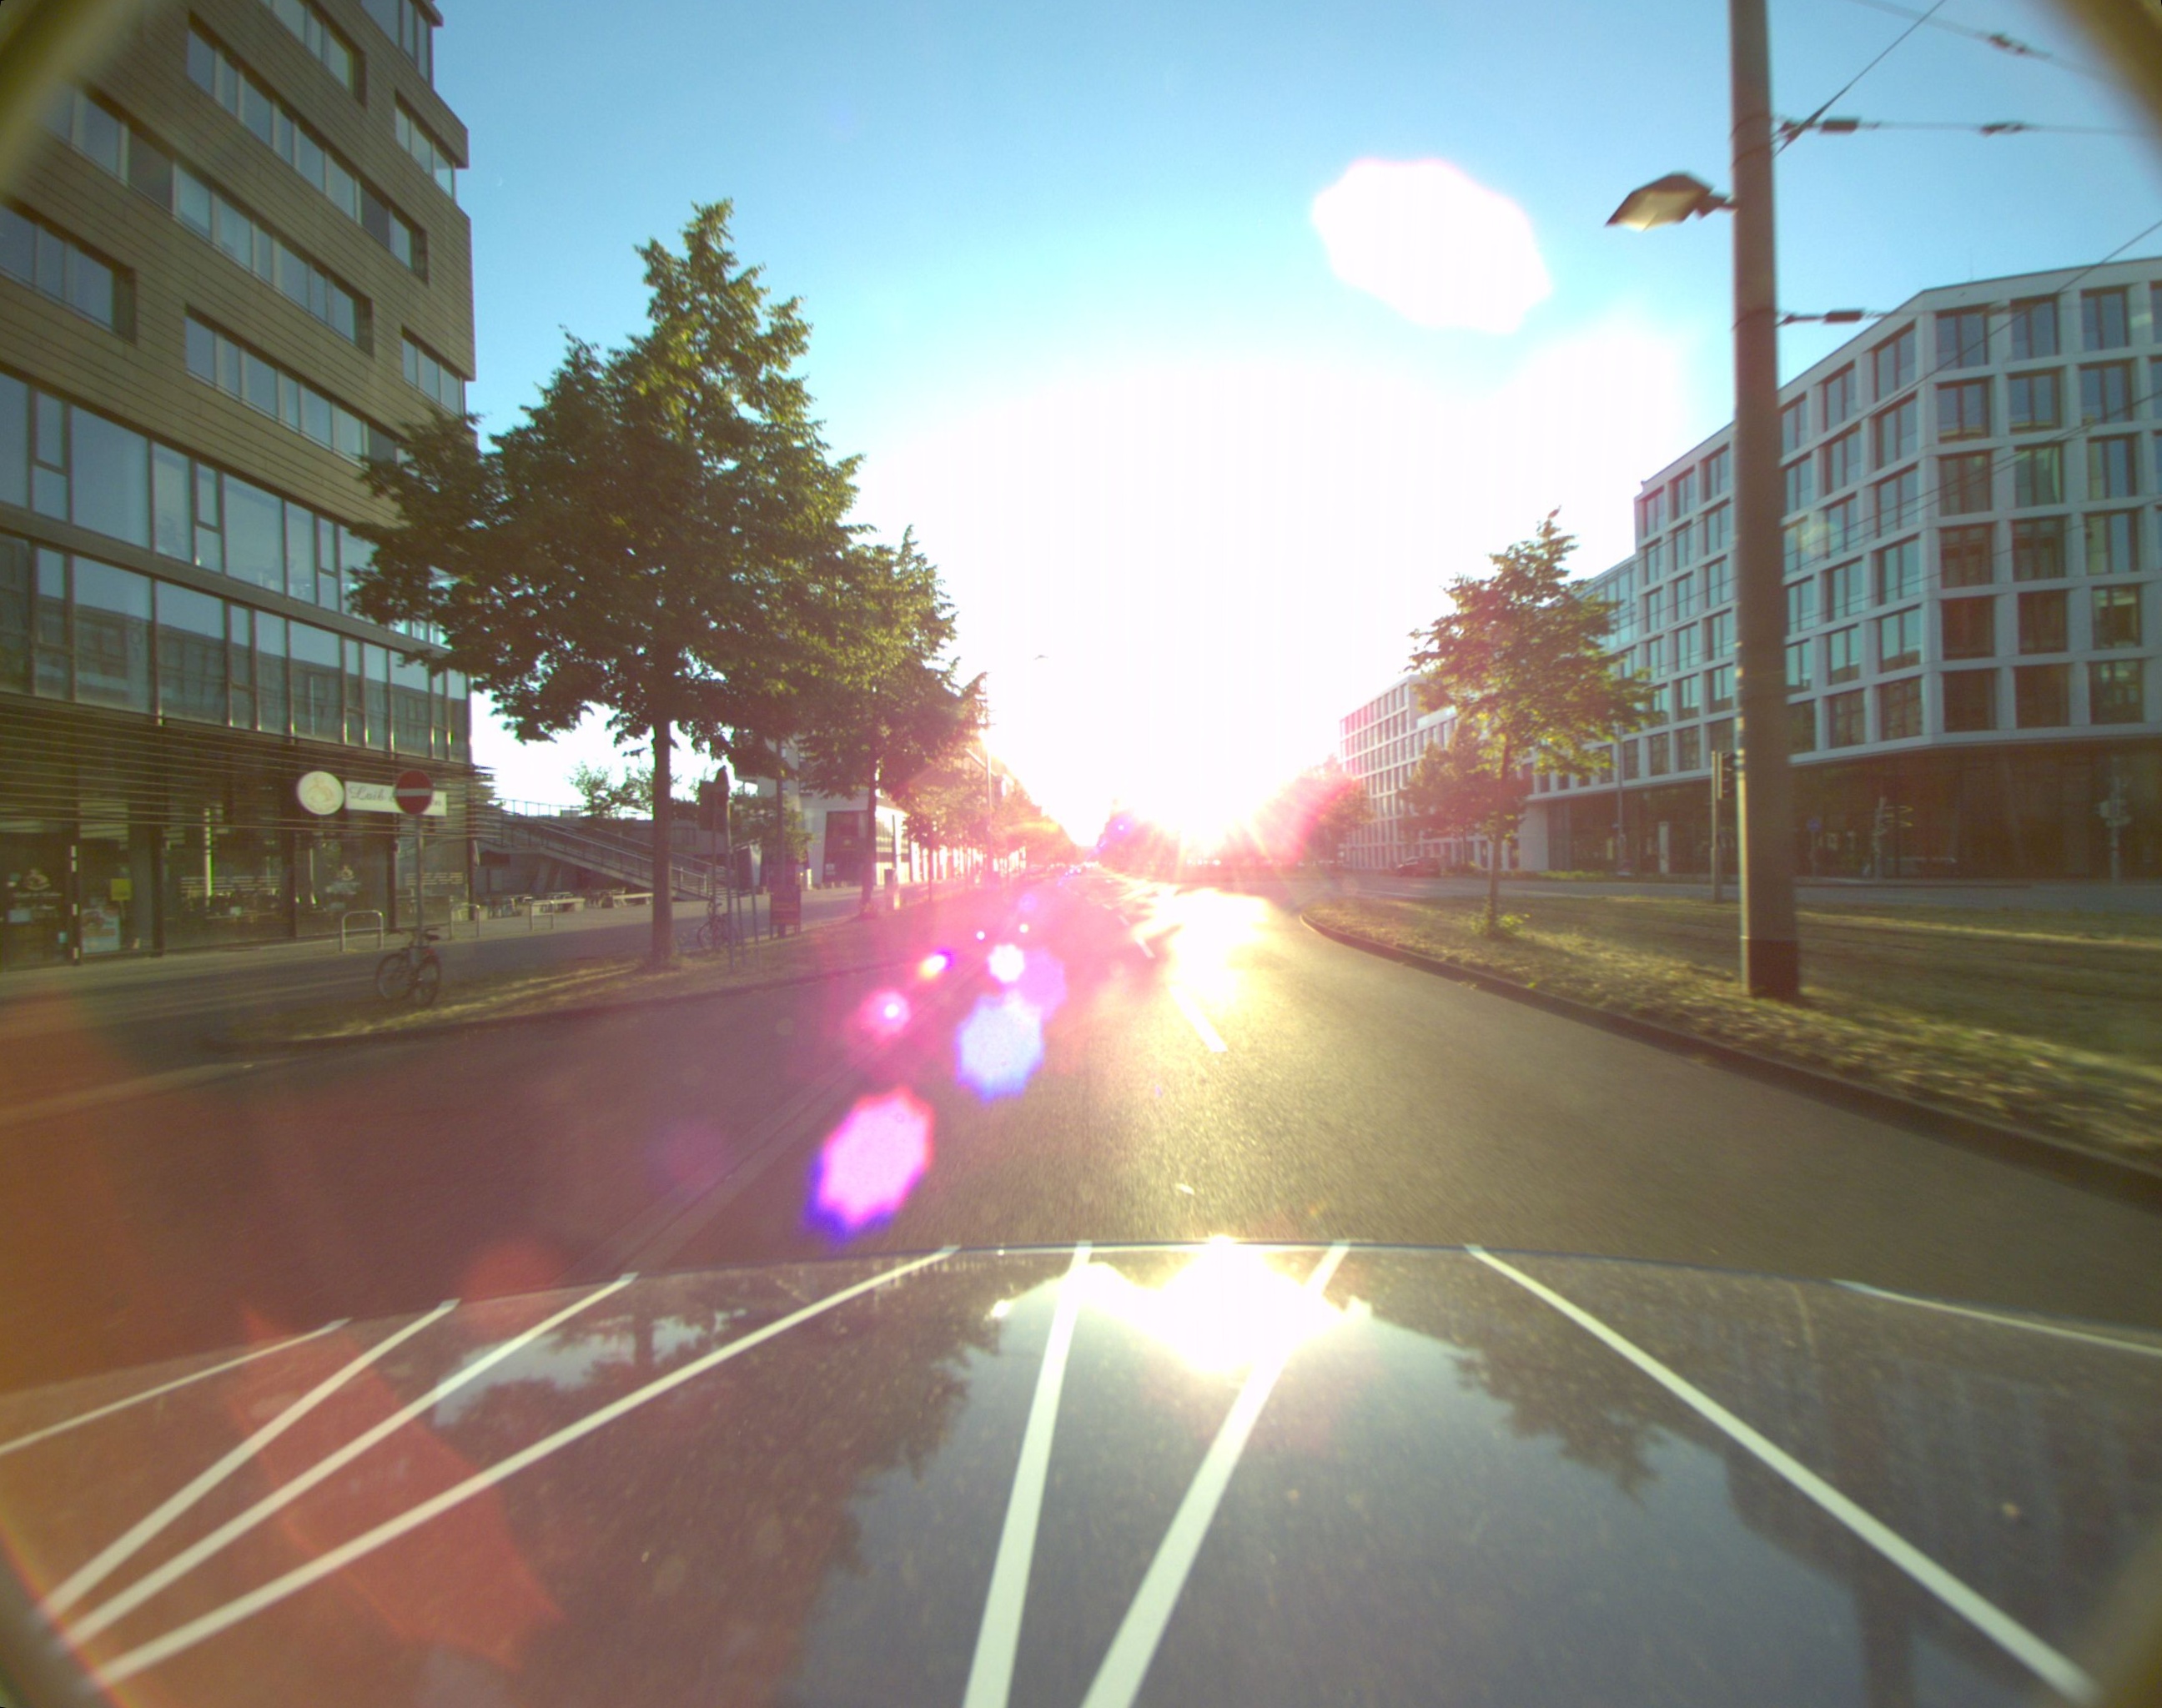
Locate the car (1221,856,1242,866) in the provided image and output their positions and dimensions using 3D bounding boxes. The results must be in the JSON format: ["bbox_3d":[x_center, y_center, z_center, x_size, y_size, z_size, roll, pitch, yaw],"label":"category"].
[{"bbox_3d":[22.151,0.973,112.013,1.998,1.426,4.898,-1,0,0],"label":"car"}]

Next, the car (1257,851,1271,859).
[{"bbox_3d":[40.023,0.223,166.005,1.998,1.730,4.611,-1,0,0],"label":"car"}]

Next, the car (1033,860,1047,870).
[{"bbox_3d":[-6.767,1.830,124.649,1.998,1.594,4.000,-1,0,0],"label":"car"}]

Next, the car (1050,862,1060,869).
[{"bbox_3d":[-6.025,2.667,175.557,1.998,1.594,4.000,-1,0,0],"label":"car"}]

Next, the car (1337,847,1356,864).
[{"bbox_3d":[48.370,0.229,138.645,2.163,2.973,5.725,-1,0,9],"label":"car"}]

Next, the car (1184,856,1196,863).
[{"bbox_3d":[21.960,1.096,153.046,1.649,1.394,4.000,-1,0,-1],"label":"car"}]

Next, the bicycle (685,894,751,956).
[{"bbox_3d":[-6.745,1.300,14.204,0.581,0.989,1.686,-1,0,-7],"label":"bicycle"}]

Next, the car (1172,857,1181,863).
[{"bbox_3d":[22.864,1.353,182.639,1.649,1.394,4.000,-1,0,-1],"label":"car"}]

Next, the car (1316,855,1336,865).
[{"bbox_3d":[38.051,0.945,118.062,1.763,1.394,4.000,-1,0,-1],"label":"car"}]

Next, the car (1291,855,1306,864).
[{"bbox_3d":[40.665,1.005,141.855,1.997,1.583,4.338,-1,0,7],"label":"car"}]

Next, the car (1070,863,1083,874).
[{"bbox_3d":[-0.725,2.238,118.277,1.998,1.473,4.335,-1,0,0],"label":"car"}]

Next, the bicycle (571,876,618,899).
[{"bbox_3d":[-28.008,1.932,43.772,0.732,1.229,2.452,-1,0,11],"label":"bicycle"}]

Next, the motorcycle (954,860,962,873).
[{"bbox_3d":[-17.004,1.729,105.389,0.690,1.689,2.123,-1,0,0],"label":"motorcycle"}]

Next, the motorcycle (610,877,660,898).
[{"bbox_3d":[-24.786,1.850,42.288,0.732,1.037,2.694,-1,0,12],"label":"motorcycle"}]

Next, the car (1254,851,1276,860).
[{"bbox_3d":[39.094,0.257,161.297,4.083,1.730,2.000,-1,0,-2],"label":"car"}]

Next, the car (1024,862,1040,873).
[{"bbox_3d":[-6.808,1.813,106.350,1.998,1.455,4.000,-1,0,0],"label":"car"}]

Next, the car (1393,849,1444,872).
[{"bbox_3d":[23.151,0.450,52.271,1.645,1.440,3.999,-1,0,-2],"label":"car"}]

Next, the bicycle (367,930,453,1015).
[{"bbox_3d":[-8.396,1.448,9.490,1.719,0.905,0.363,-2,0,34],"label":"bicycle"}]

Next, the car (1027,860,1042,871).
[{"bbox_3d":[-7.227,1.817,117.714,1.998,1.594,4.000,-1,0,0],"label":"car"}]
